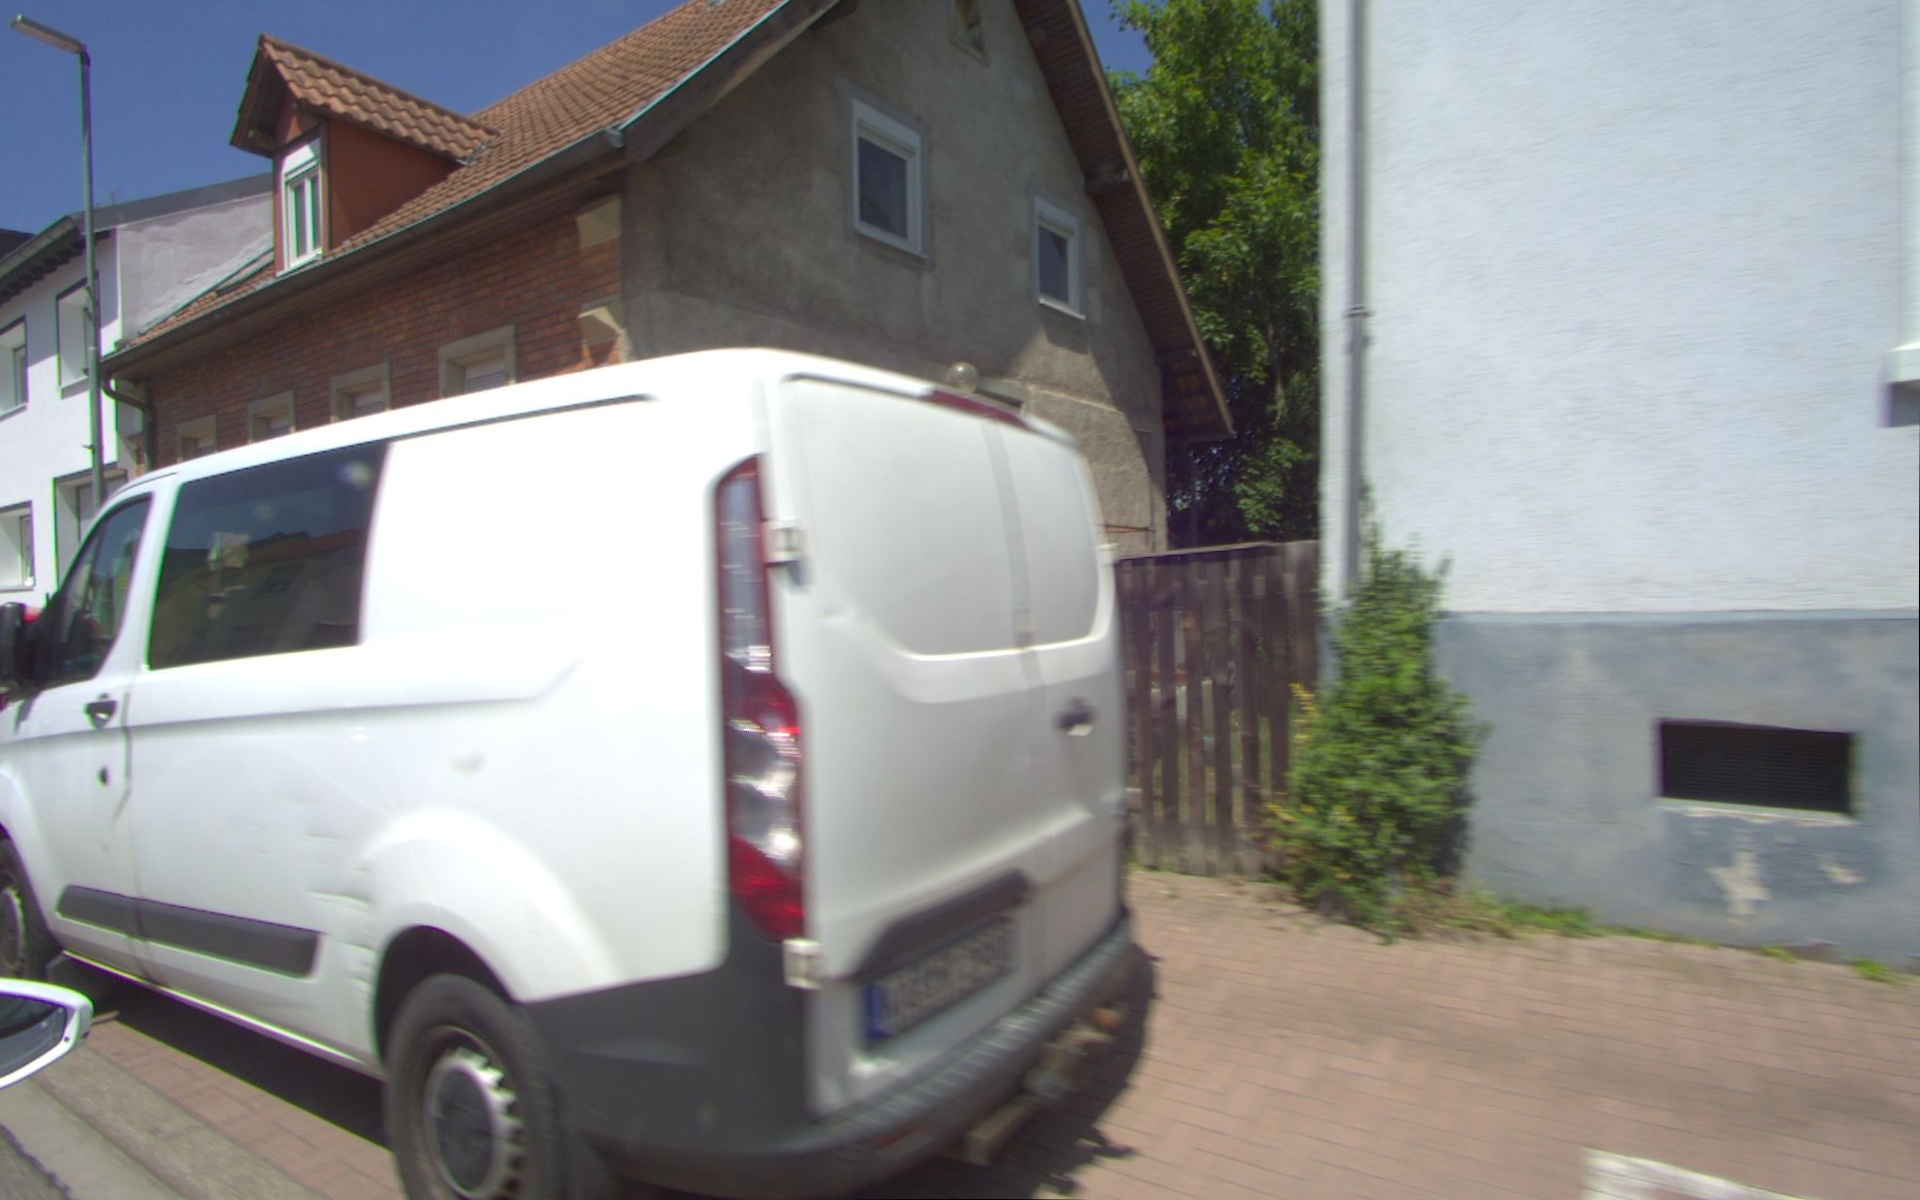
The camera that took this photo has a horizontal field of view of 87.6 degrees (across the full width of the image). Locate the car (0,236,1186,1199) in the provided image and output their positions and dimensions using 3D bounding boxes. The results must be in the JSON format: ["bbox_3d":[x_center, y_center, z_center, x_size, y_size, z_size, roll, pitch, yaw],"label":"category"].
[{"bbox_3d":[-1.784,0.450,3.630,4.716,1.997,1.942,-1,1,32],"label":"car"}]

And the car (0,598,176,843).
[{"bbox_3d":[-7.583,0.789,7.487,3.625,1.549,1.606,0,1,33],"label":"car"}]
